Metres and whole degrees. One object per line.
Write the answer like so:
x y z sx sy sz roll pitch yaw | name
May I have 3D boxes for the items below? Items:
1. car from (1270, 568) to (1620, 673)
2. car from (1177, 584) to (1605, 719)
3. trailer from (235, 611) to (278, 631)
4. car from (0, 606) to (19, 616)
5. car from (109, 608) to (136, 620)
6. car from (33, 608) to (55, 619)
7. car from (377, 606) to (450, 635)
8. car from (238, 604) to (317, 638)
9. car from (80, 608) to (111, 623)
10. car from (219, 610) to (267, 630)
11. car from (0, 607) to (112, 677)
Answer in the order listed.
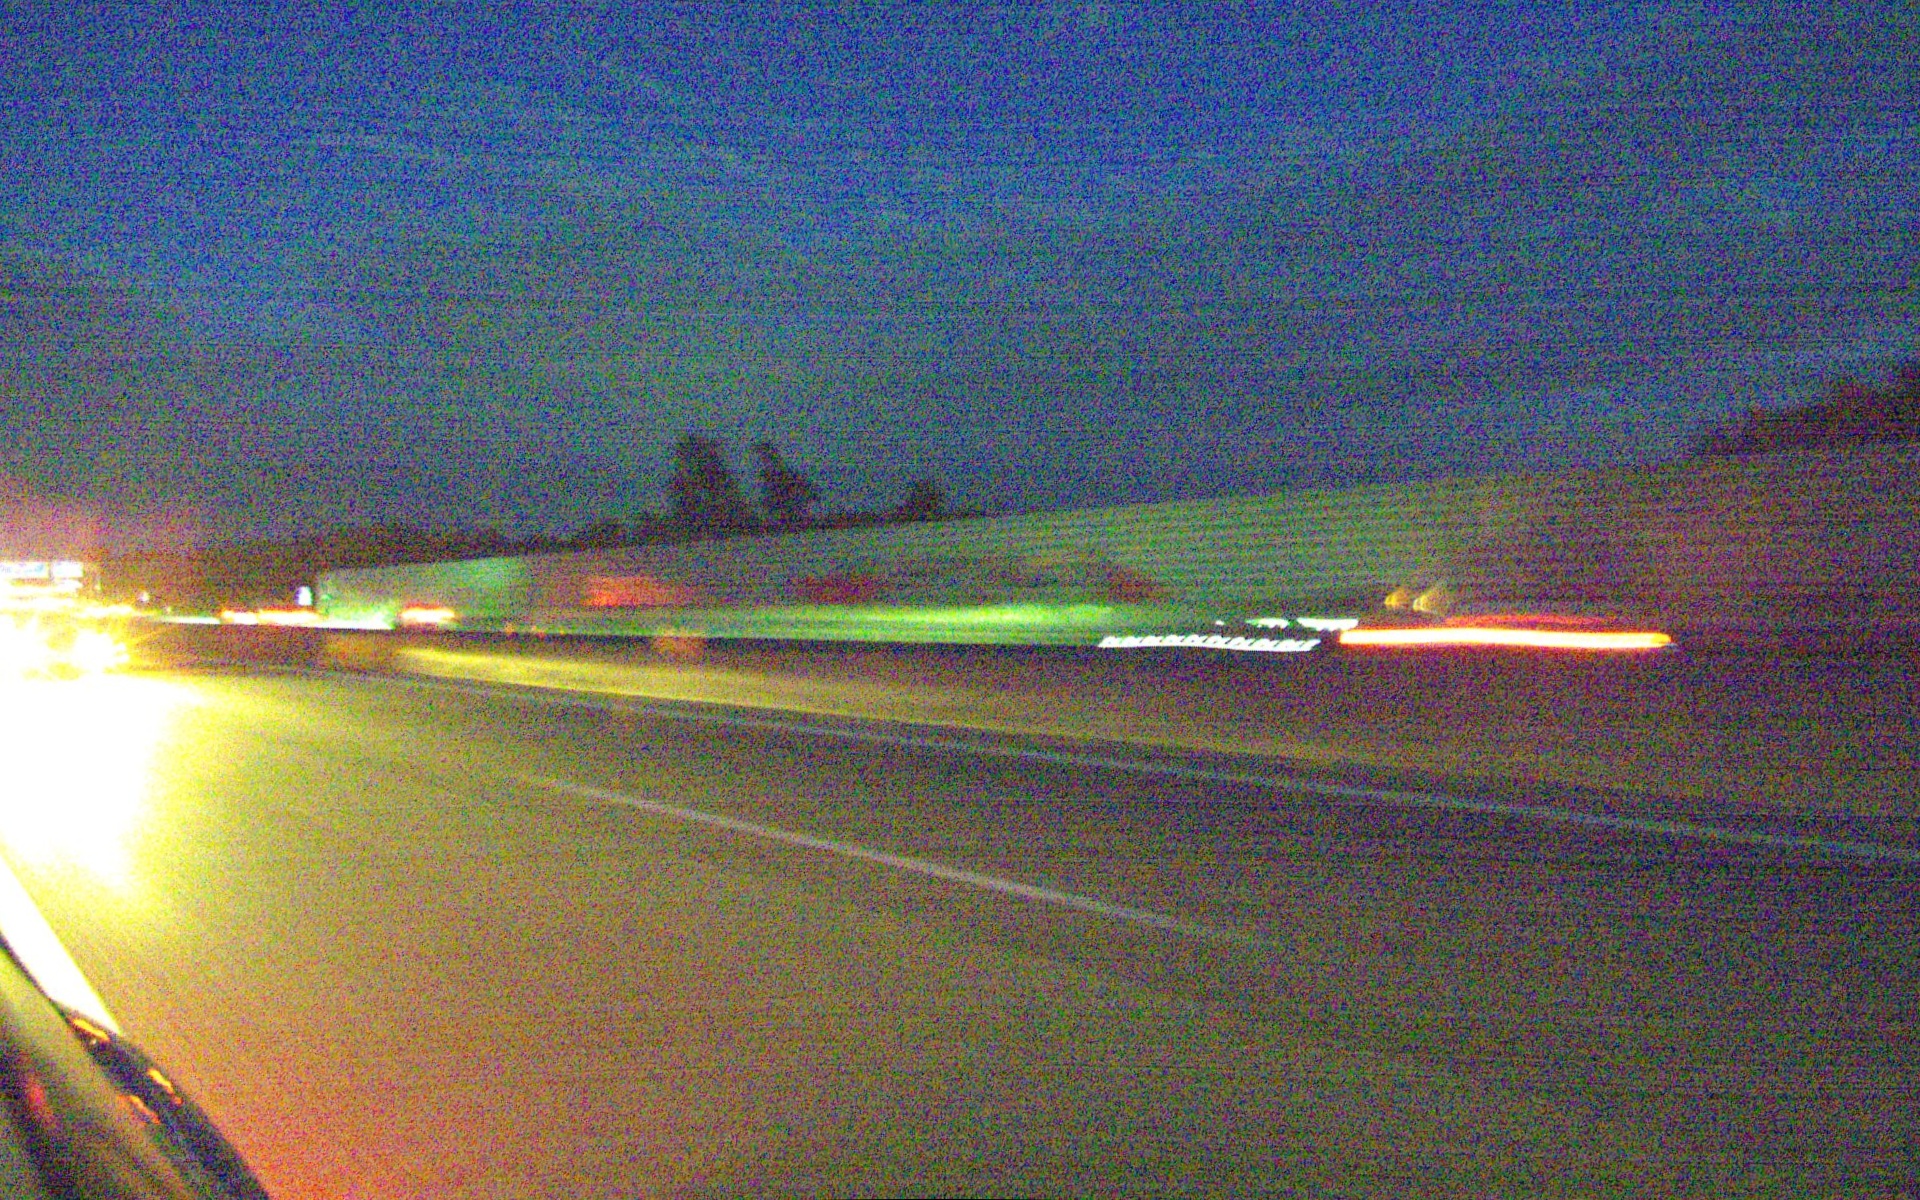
9.421 0.359 20.085 5.939 1.795 2.032 -1 0 42 | car
5.995 0.603 14.456 5.107 1.567 2.532 -1 0 42 | car
-55.902 1.617 80.412 3.128 1.492 2.160 -1 1 42 | trailer
-170.880 1.893 181.938 5.625 1.733 2.096 -1 0 42 | car
-110.151 1.822 133.052 5.109 1.567 2.096 -1 0 43 | car
-147.275 2.229 162.759 5.107 1.710 2.096 -1 0 42 | car
-31.510 1.138 58.247 5.107 1.567 2.096 -1 0 42 | car
-34.072 1.017 50.494 5.107 1.567 2.096 -1 0 42 | car
-99.734 1.769 116.735 5.107 1.567 2.096 -1 0 42 | car
-58.990 1.642 83.215 5.241 1.492 2.160 -1 1 42 | car
-23.030 1.079 25.326 5.648 1.530 1.972 -3 -1 42 | car
